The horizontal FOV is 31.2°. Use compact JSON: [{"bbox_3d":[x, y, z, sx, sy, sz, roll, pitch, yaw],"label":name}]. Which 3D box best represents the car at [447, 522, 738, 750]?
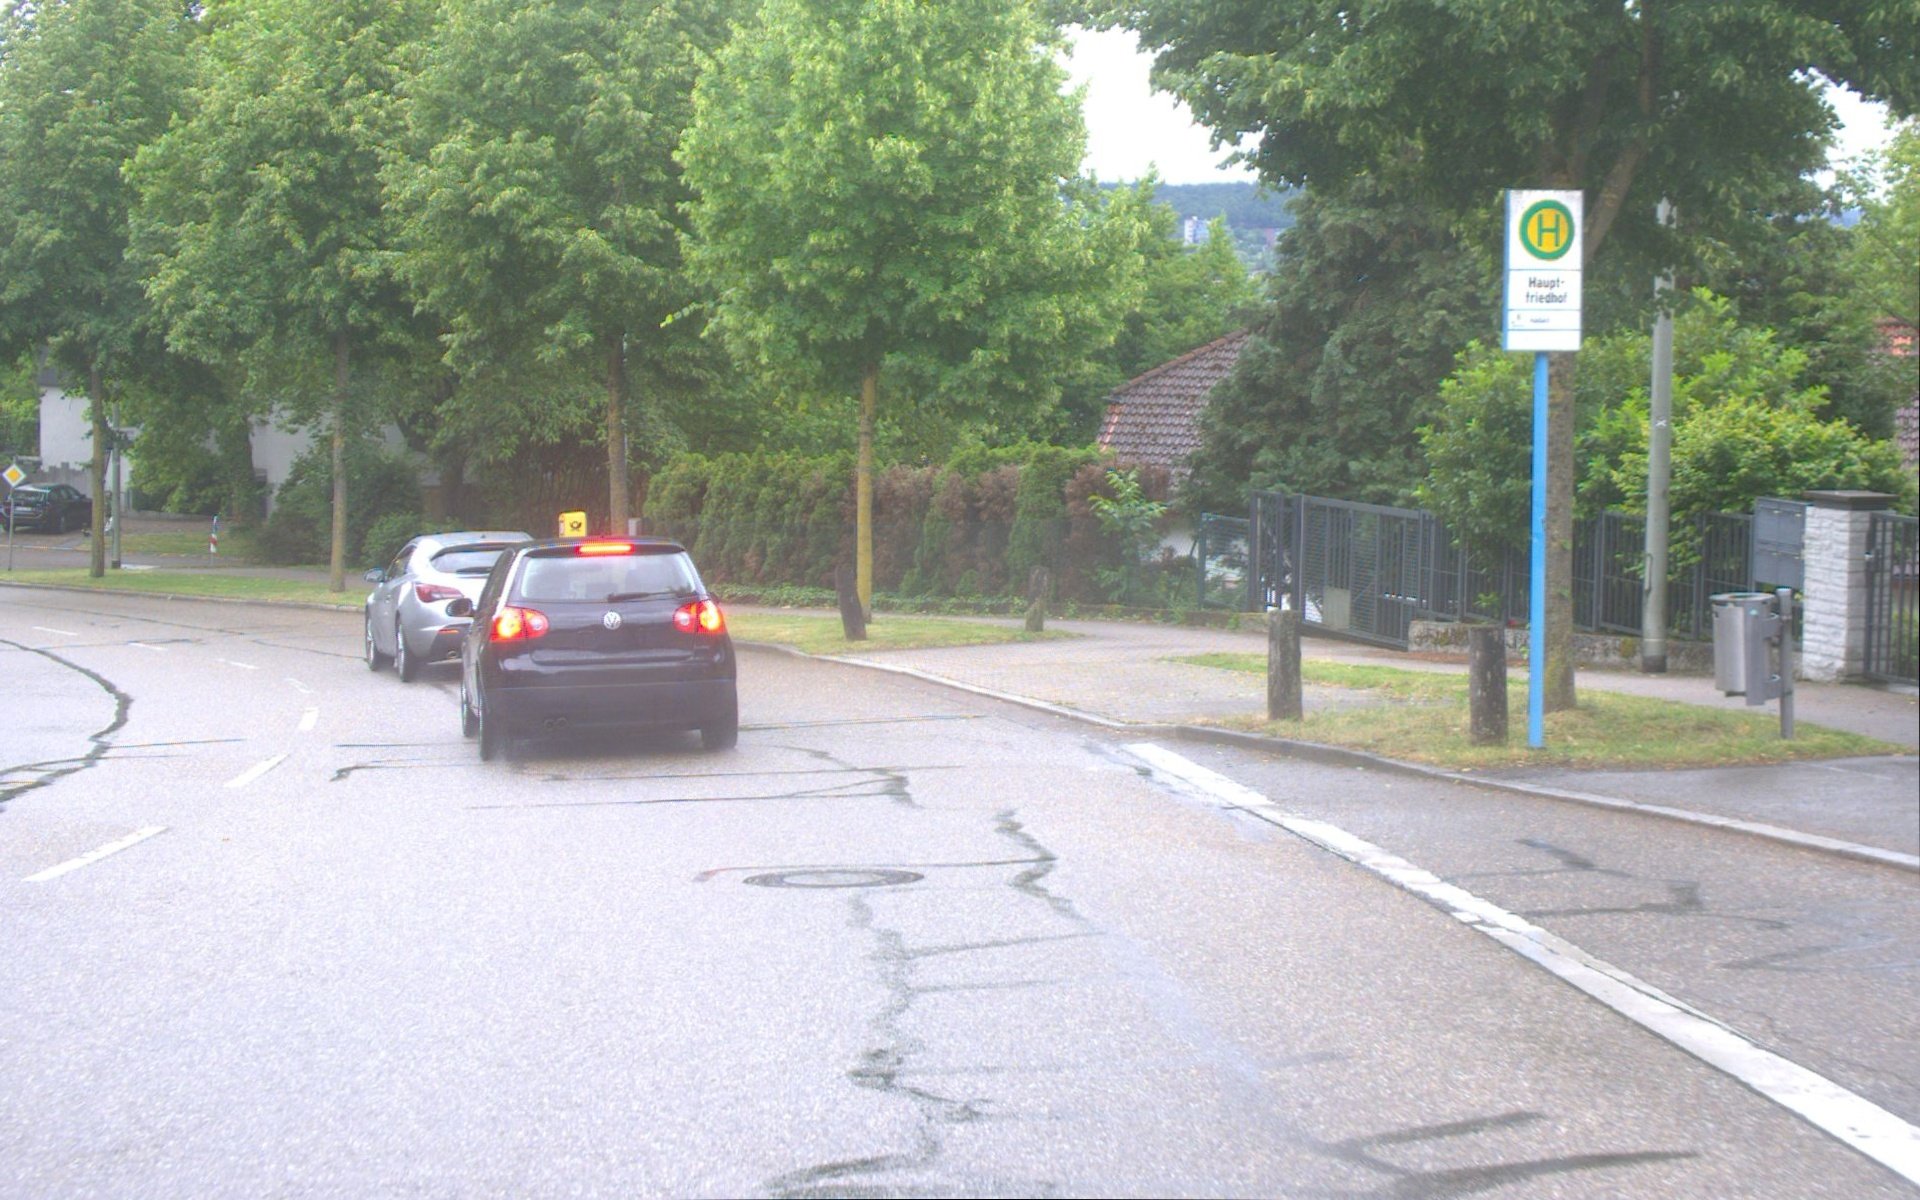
[{"bbox_3d":[-2.679,0.188,24.333,1.721,1.459,4.001,-1,1,-11],"label":"car"}]

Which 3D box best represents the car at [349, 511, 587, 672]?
[{"bbox_3d":[-5.145,-0.140,35.580,1.754,1.459,4.002,-1,3,-18],"label":"car"}]

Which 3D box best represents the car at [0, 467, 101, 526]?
[{"bbox_3d":[-28.121,-3.205,105.889,1.751,1.464,4.566,3,6,6],"label":"car"}]
